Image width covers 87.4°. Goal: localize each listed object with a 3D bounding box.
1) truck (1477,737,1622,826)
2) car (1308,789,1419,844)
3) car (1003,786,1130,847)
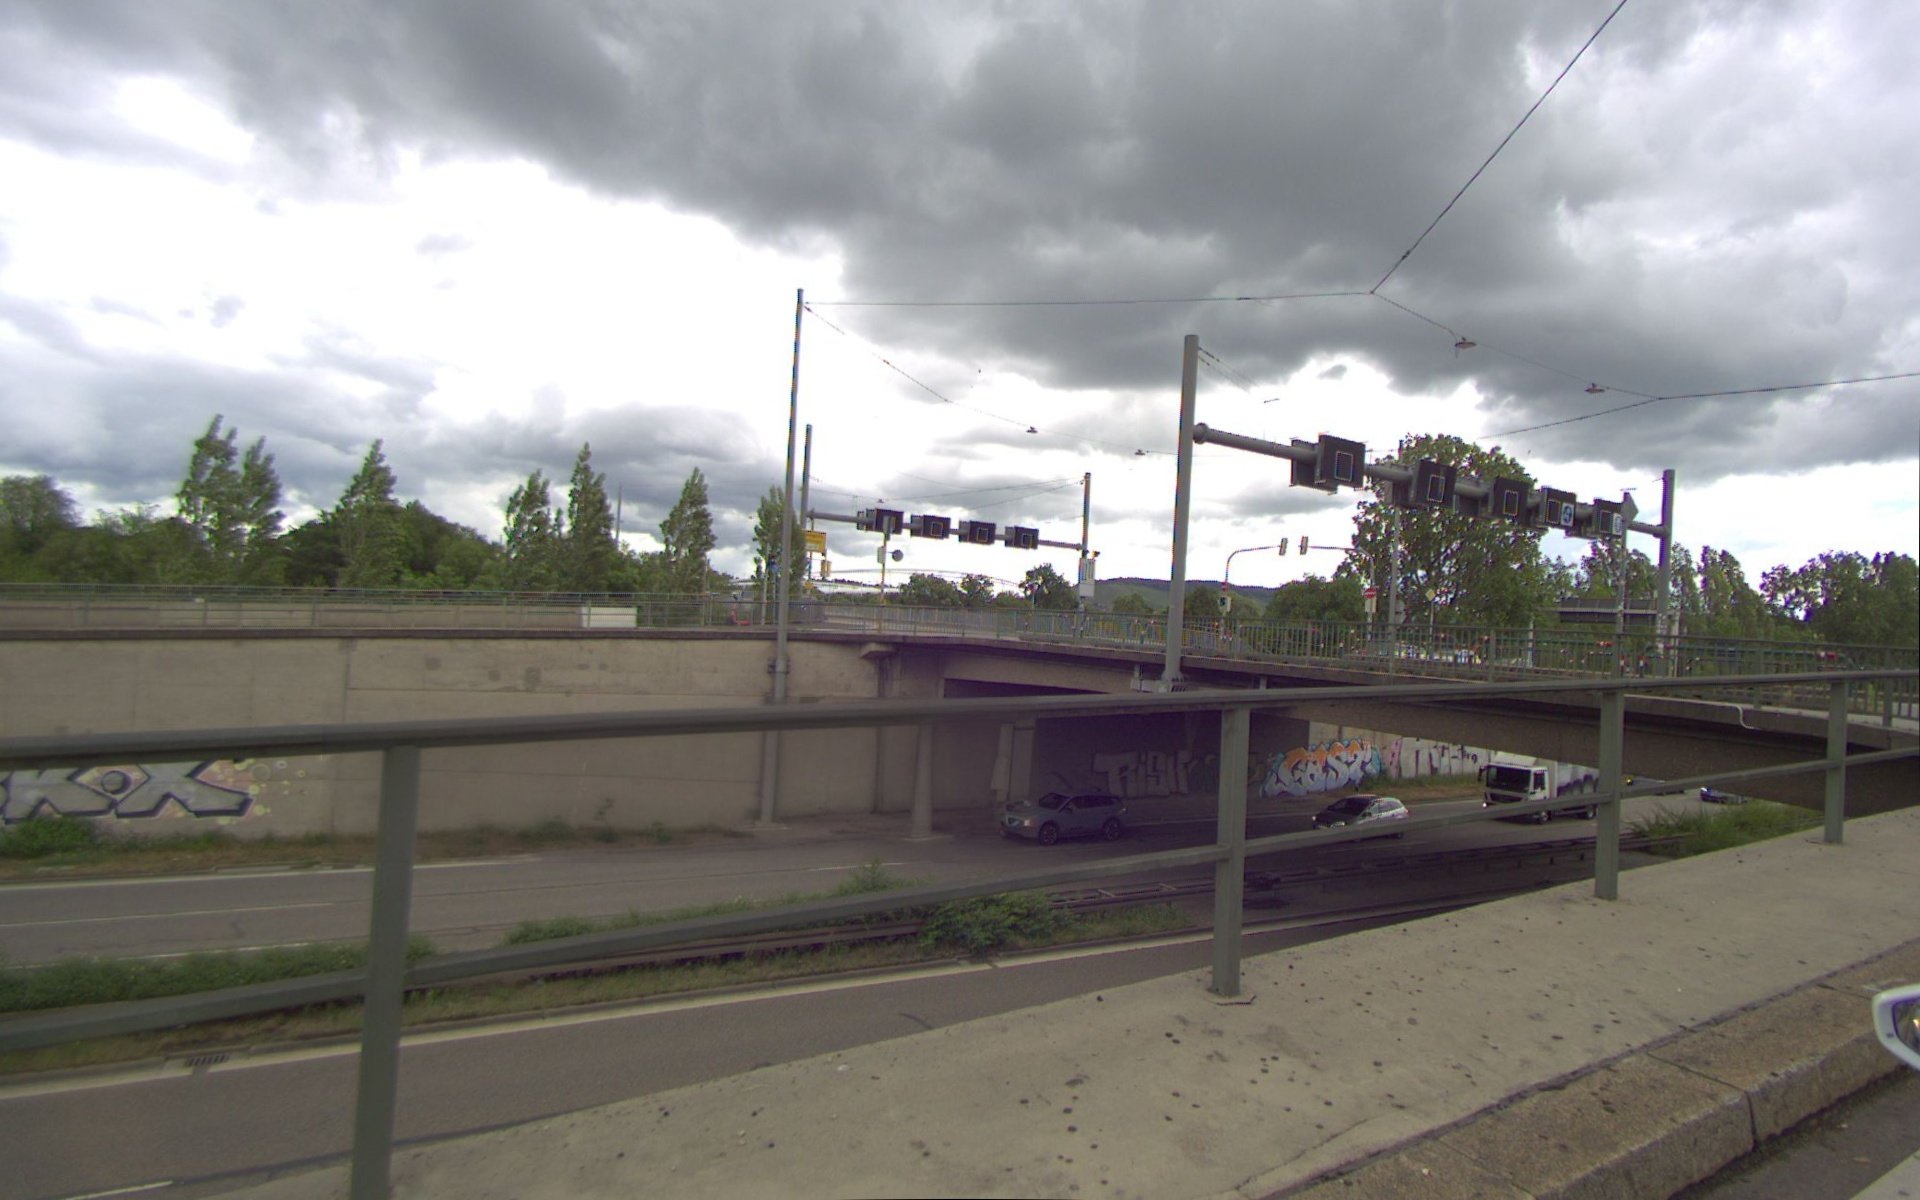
[{"bbox_3d":[27.444,8.270,46.609,8.047,3.506,2.498,5,-3,-34],"label":"truck"},{"bbox_3d":[15.597,8.296,38.732,4.444,1.632,1.671,4,-3,-32],"label":"car"},{"bbox_3d":[3.779,7.573,35.341,4.206,1.692,1.703,5,-3,-30],"label":"car"}]
